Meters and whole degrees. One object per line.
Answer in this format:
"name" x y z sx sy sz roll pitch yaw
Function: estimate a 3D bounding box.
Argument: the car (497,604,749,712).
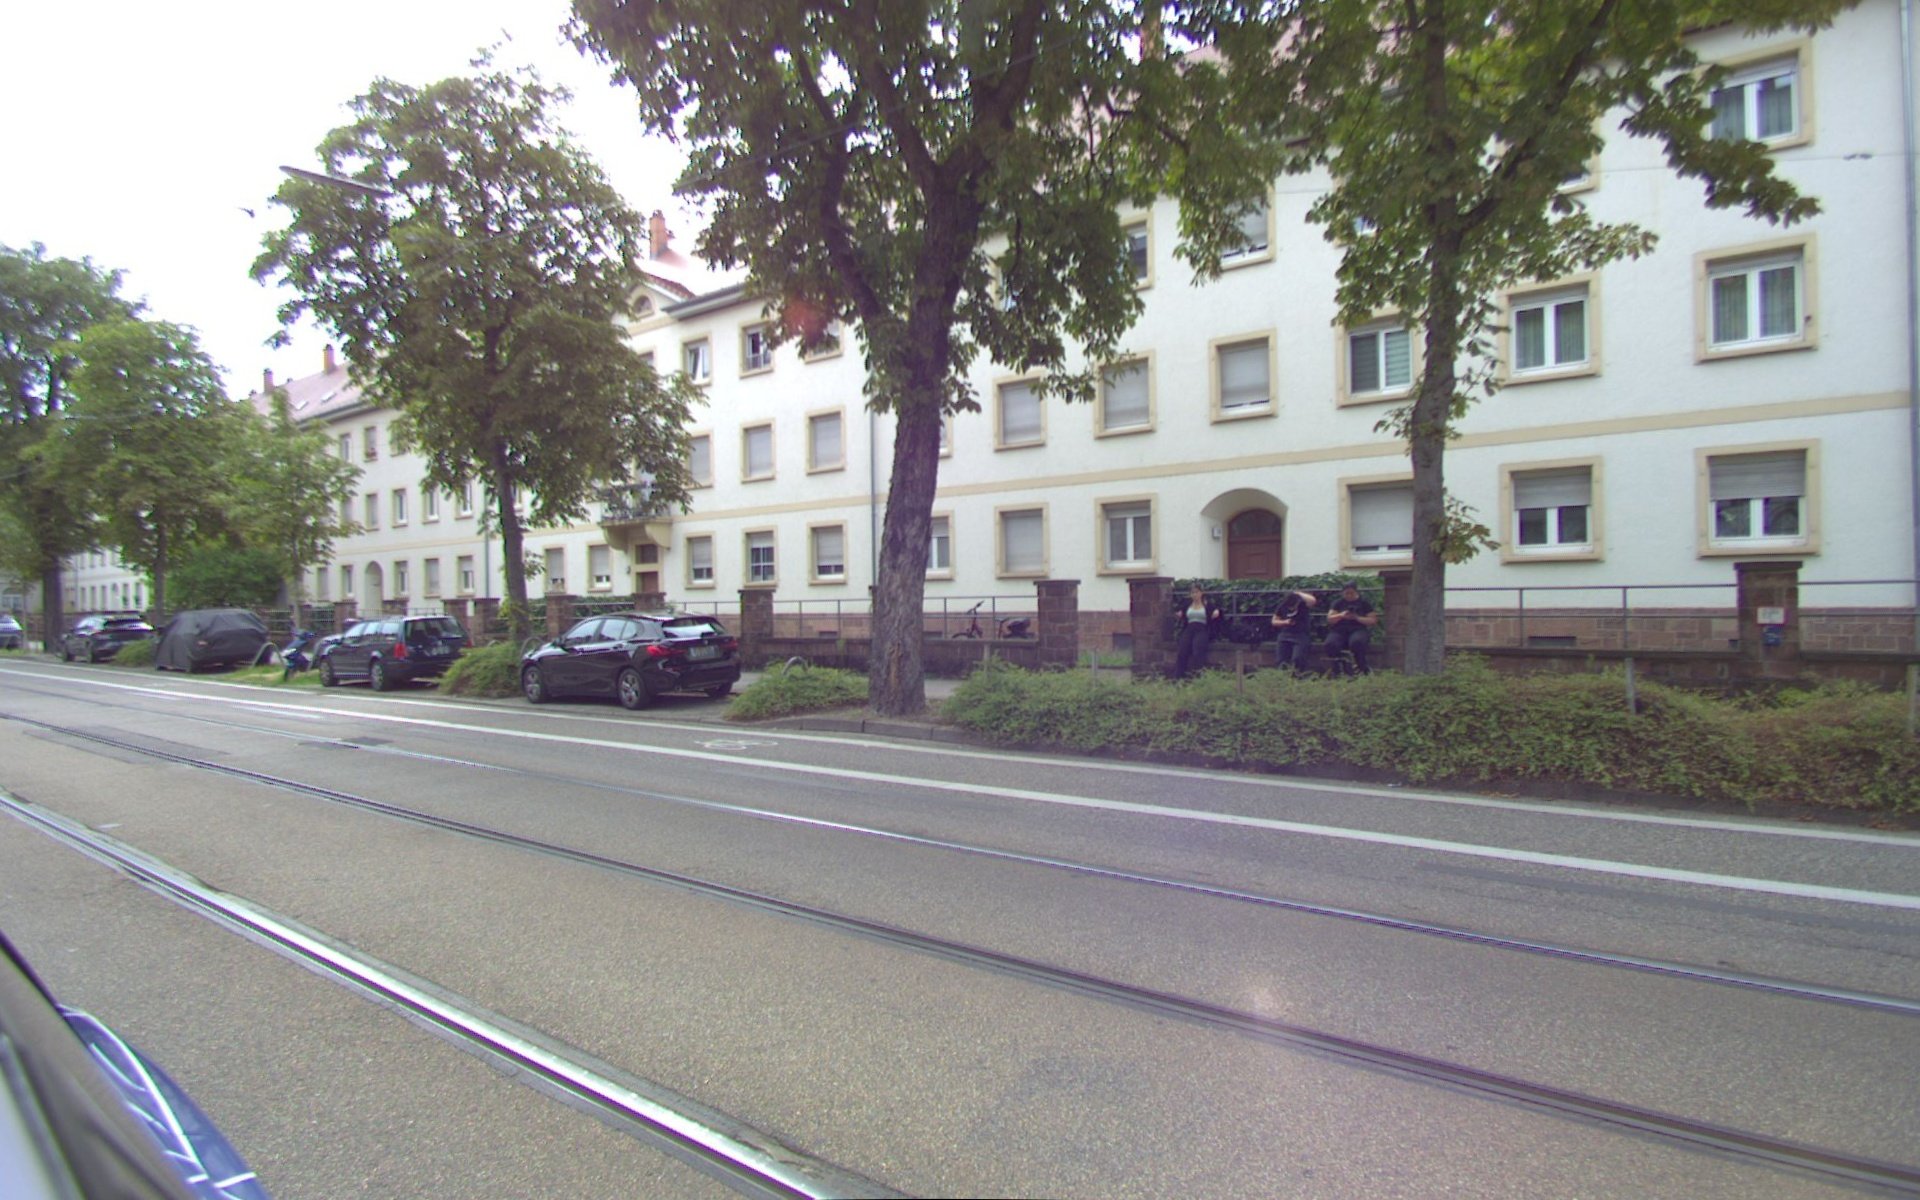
"car" -5.509 0.867 16.312 4.293 1.434 1.681 -1 2 37

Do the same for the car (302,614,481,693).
"car" -11.899 1.054 21.093 4.293 1.434 1.681 -1 1 37

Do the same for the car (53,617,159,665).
"car" -28.429 1.334 33.640 4.290 1.481 1.682 -1 -1 35

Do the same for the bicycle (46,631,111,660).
"bicycle" -31.936 1.622 36.695 0.670 0.978 1.656 -1 -1 28

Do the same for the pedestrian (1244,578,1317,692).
"pedestrian" 4.299 0.455 13.550 0.730 1.476 0.826 -1 -1 32

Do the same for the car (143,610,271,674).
"car" -20.965 1.128 28.120 4.293 1.624 1.769 -1 -1 37

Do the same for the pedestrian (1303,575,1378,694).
"pedestrian" 4.936 0.438 13.114 0.730 1.476 0.826 -1 -1 32

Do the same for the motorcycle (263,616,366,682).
"motorcycle" -14.969 1.118 23.530 0.590 1.269 1.852 -1 5 33

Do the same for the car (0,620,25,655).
"car" -43.628 1.685 45.329 4.290 1.481 1.682 -1 0 35

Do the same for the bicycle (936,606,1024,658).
"bicycle" 0.343 0.552 17.785 1.548 0.869 0.504 -1 -1 38

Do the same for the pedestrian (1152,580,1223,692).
"pedestrian" 3.224 0.497 14.323 0.730 1.524 0.826 -1 -1 32
